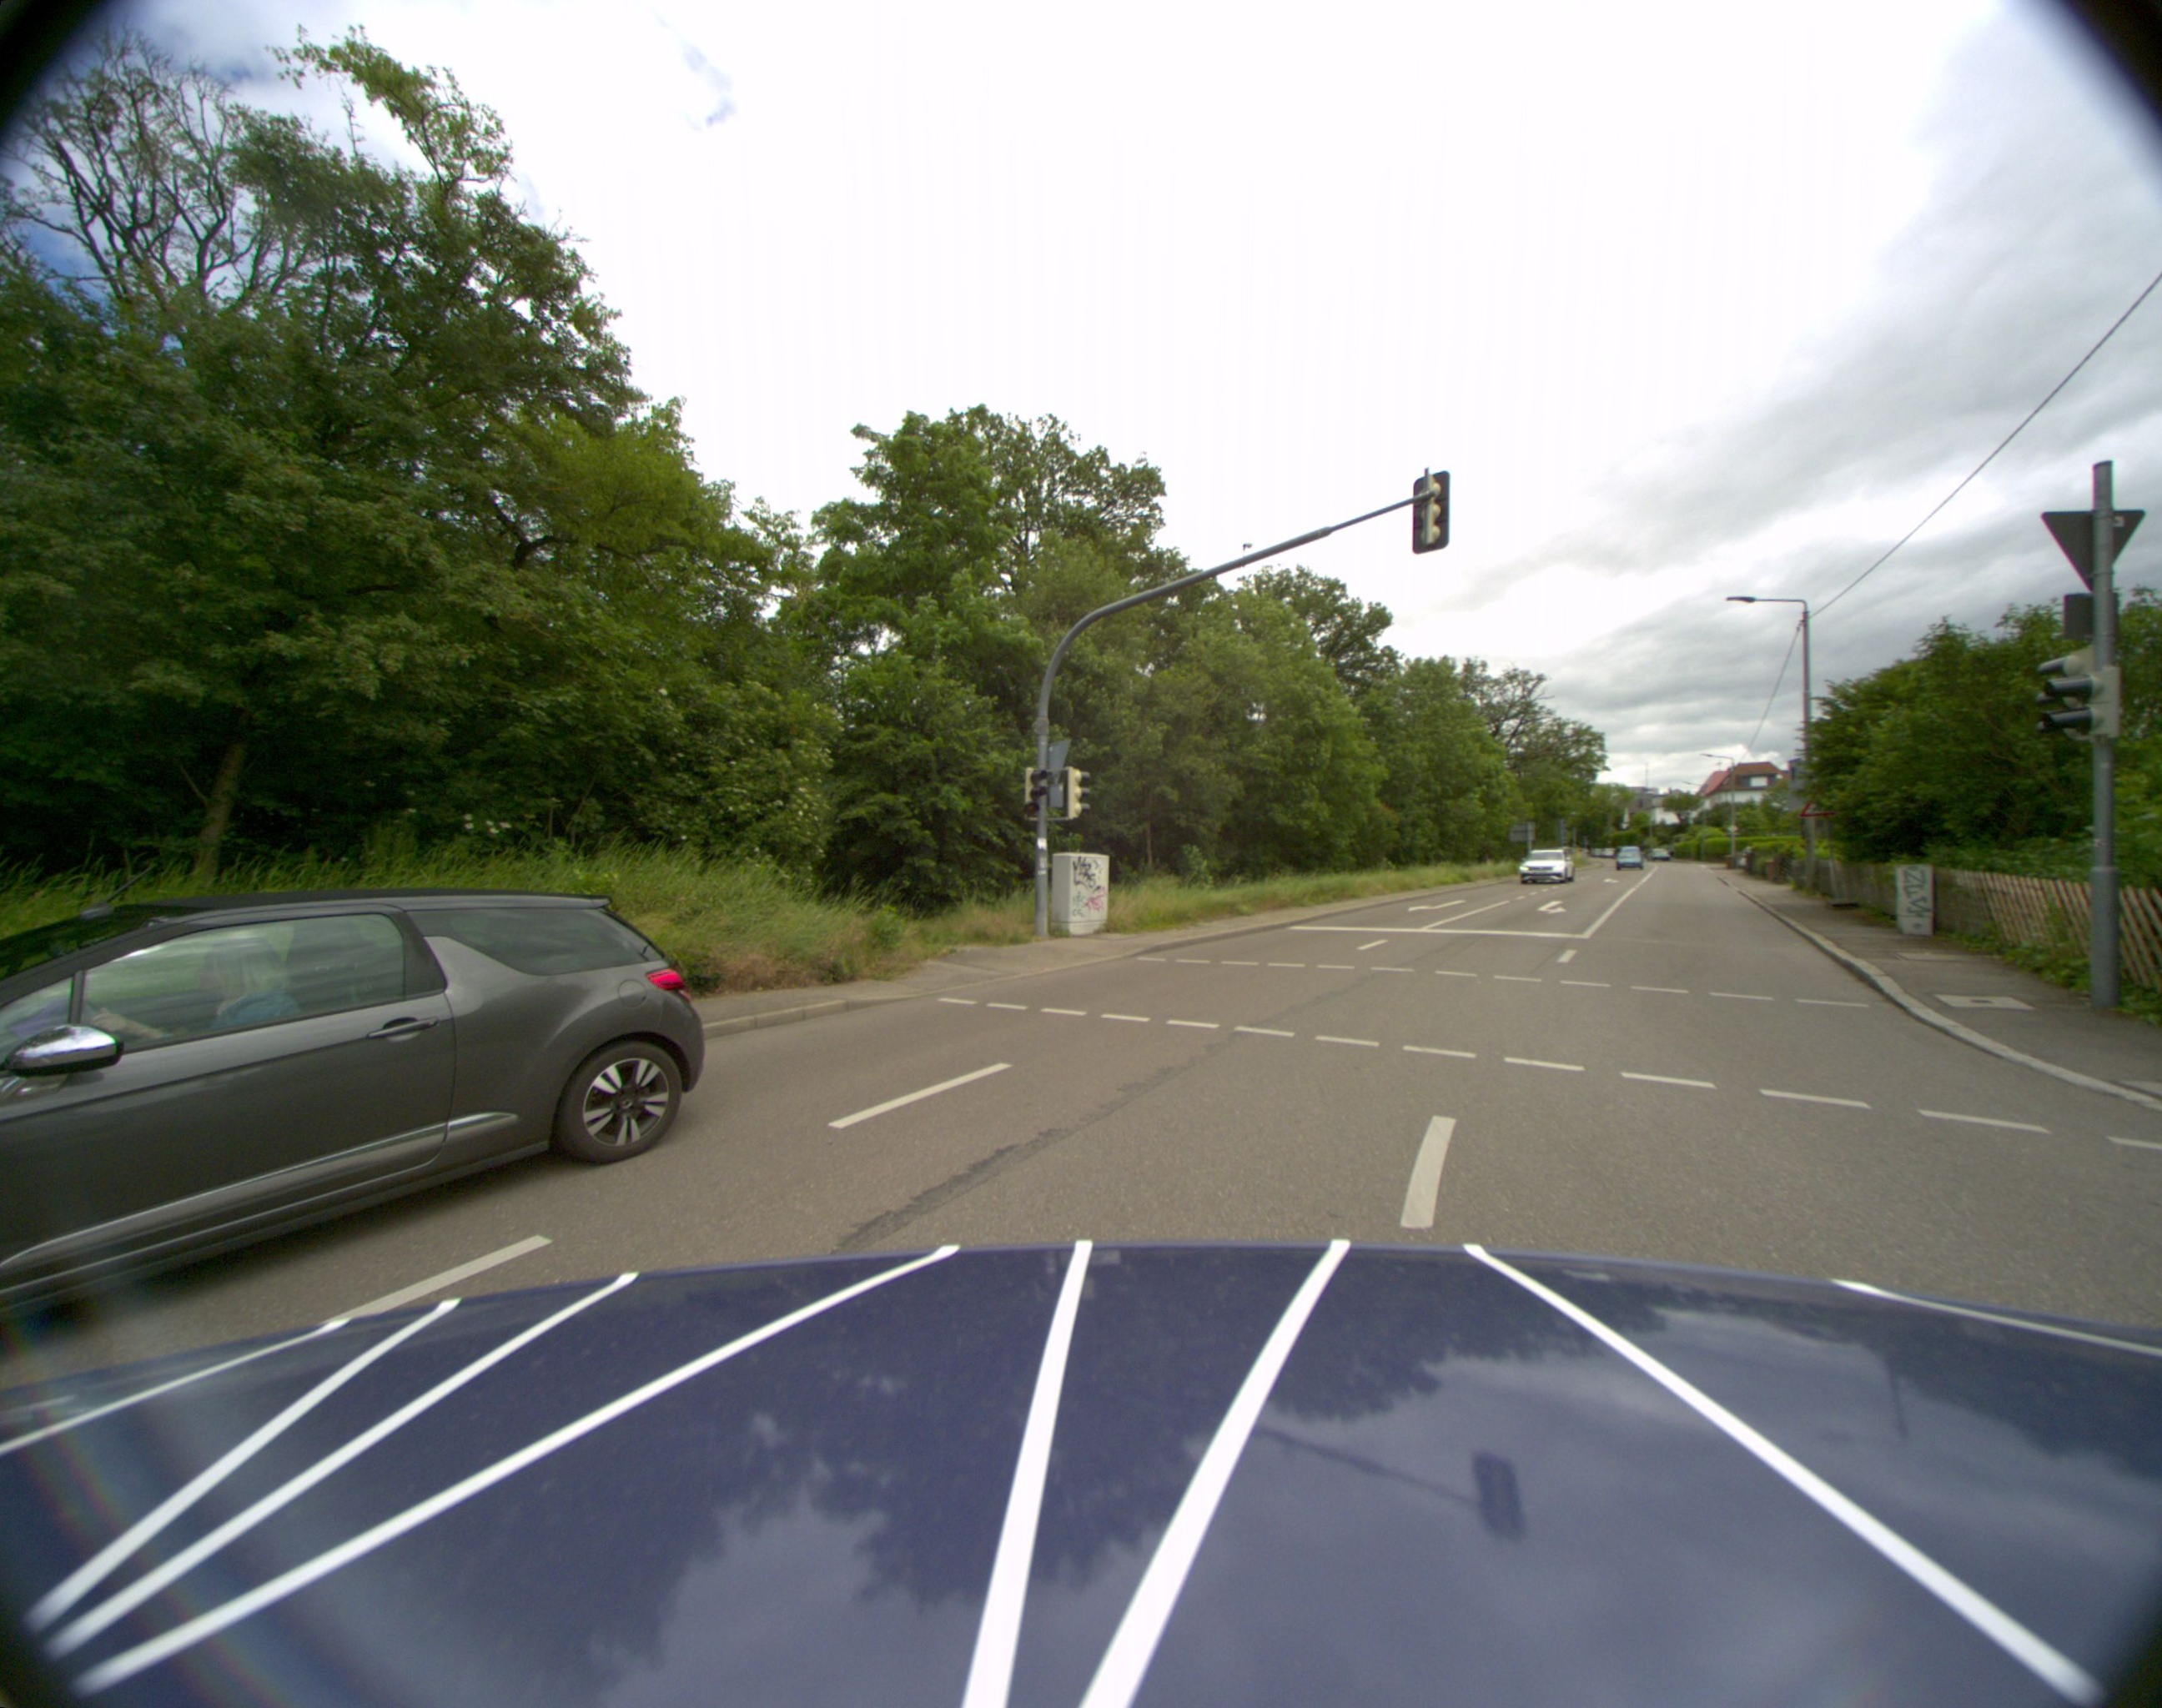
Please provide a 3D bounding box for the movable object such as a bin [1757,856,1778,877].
[{"bbox_3d":[30.583,0.541,33.858,0.561,0.907,0.633,-1,-1,-42],"label":"movable object such as a bin"}]

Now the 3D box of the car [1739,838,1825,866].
[{"bbox_3d":[45.891,-0.099,49.850,3.989,1.584,1.722,-4,-2,38],"label":"car"}]

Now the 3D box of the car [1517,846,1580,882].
[{"bbox_3d":[22.464,0.460,36.476,1.994,1.565,4.008,-1,0,40],"label":"car"}]

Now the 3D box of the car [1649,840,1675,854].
[{"bbox_3d":[68.708,-0.825,89.872,1.836,1.514,4.007,-1,0,28],"label":"car"}]

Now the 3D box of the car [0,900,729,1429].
[{"bbox_3d":[-3.786,1.037,3.163,1.727,1.449,3.862,-2,0,31],"label":"car"}]
